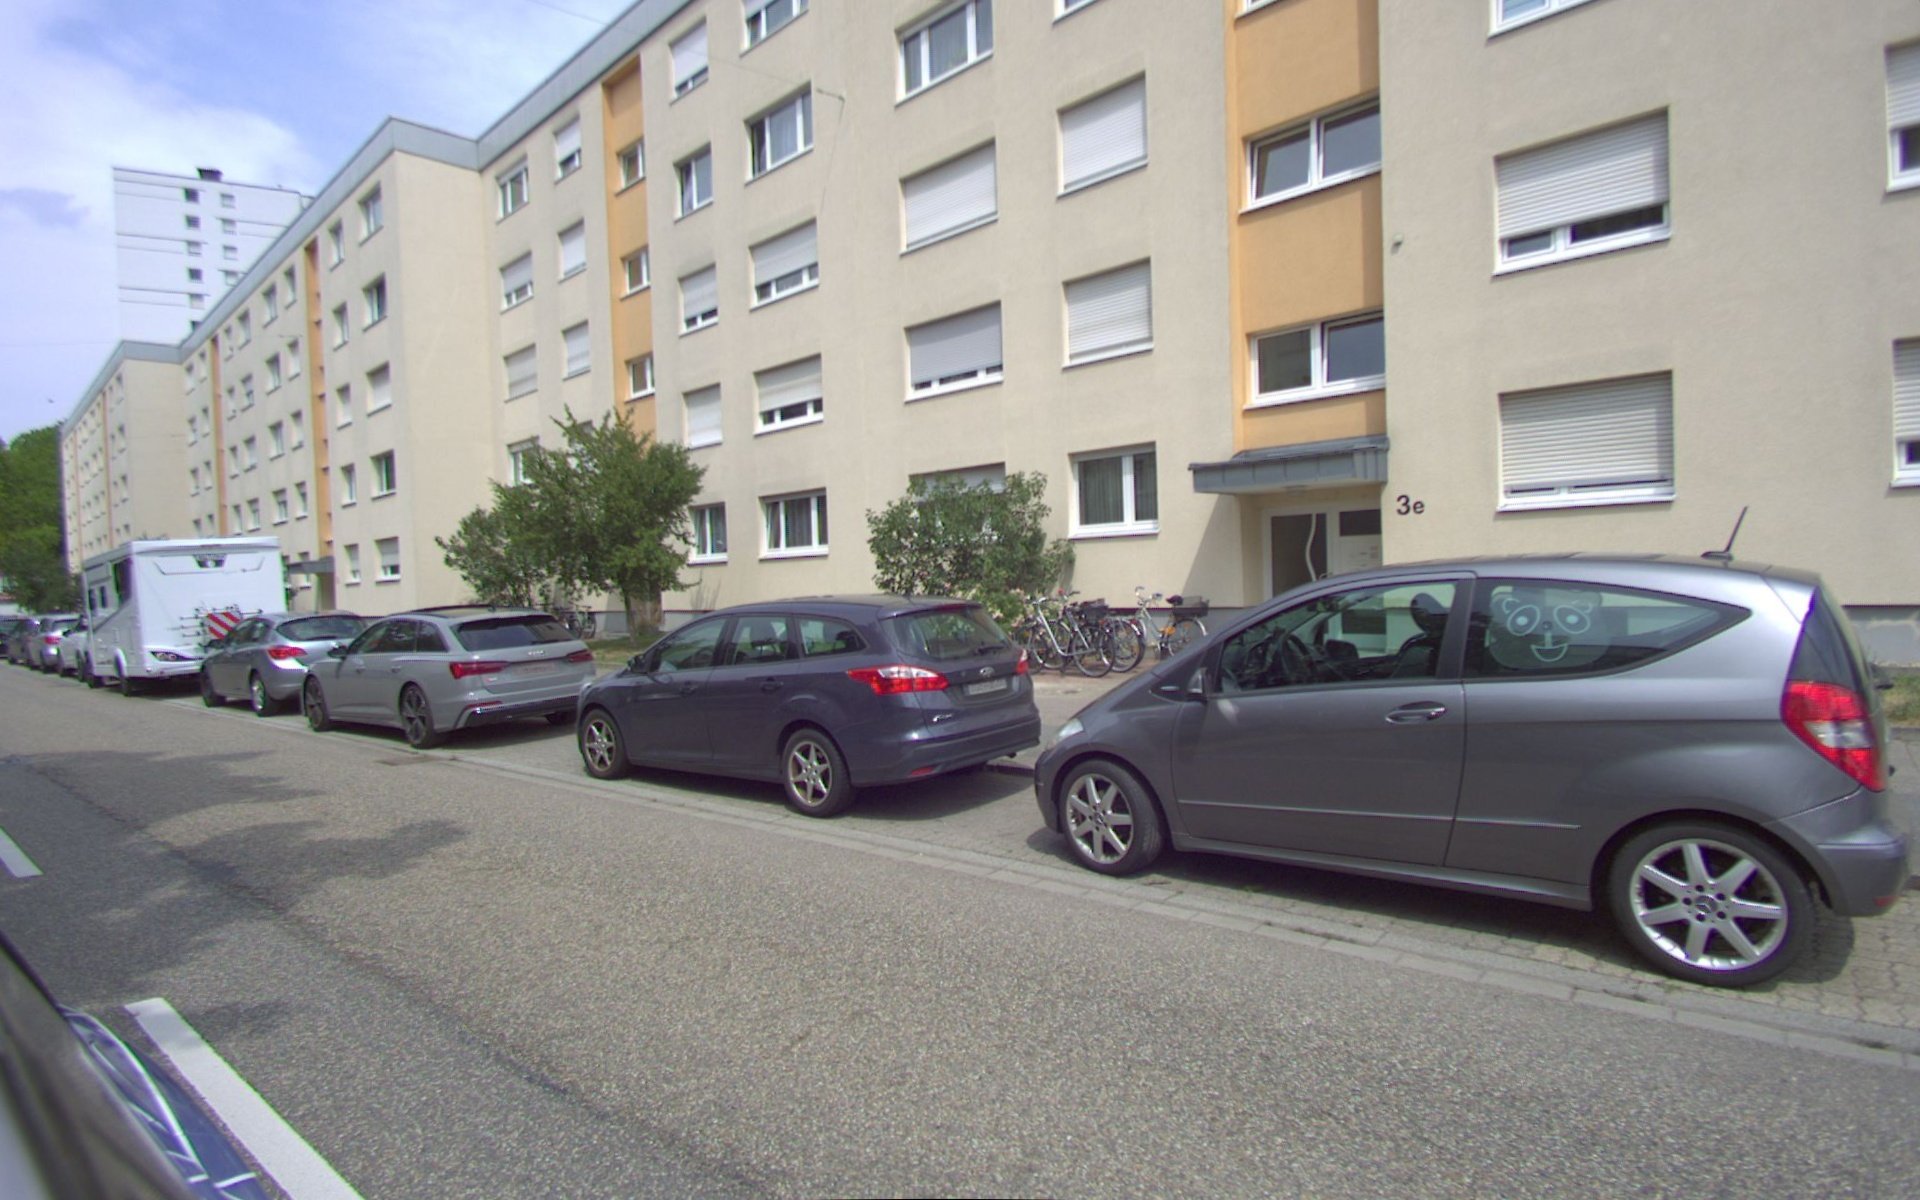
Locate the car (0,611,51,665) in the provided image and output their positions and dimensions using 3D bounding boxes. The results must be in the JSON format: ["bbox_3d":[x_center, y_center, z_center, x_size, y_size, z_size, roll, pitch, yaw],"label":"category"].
[{"bbox_3d":[-33.859,1.331,36.063,3.893,1.811,1.701,-1,0,41],"label":"car"}]

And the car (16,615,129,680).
[{"bbox_3d":[-24.767,1.257,28.203,4.216,1.644,1.829,-1,0,41],"label":"car"}]

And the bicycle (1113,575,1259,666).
[{"bbox_3d":[3.223,0.287,14.572,2.018,1.216,0.527,-1,3,43],"label":"bicycle"}]

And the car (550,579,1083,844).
[{"bbox_3d":[-1.308,0.686,7.999,4.259,1.515,1.661,-1,2,39],"label":"car"}]

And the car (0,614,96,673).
[{"bbox_3d":[-28.893,1.320,31.914,4.214,1.692,1.821,-1,0,39],"label":"car"}]

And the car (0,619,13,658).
[{"bbox_3d":[-41.101,1.612,42.442,3.893,1.568,1.644,-1,0,41],"label":"car"}]

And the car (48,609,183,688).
[{"bbox_3d":[-20.791,1.124,24.879,3.835,1.752,1.973,-1,0,41],"label":"car"}]

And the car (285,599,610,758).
[{"bbox_3d":[-6.269,0.812,12.130,4.620,1.518,1.701,-1,1,39],"label":"car"}]

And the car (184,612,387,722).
[{"bbox_3d":[-10.678,0.965,15.912,4.055,1.495,1.596,-1,0,40],"label":"car"}]

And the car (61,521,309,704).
[{"bbox_3d":[-15.711,0.276,20.292,7.110,3.081,2.587,-2,-1,41],"label":"car"}]

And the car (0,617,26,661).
[{"bbox_3d":[-37.930,1.512,39.544,3.893,1.629,1.708,-1,0,41],"label":"car"}]

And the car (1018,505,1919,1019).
[{"bbox_3d":[2.345,0.511,4.902,3.836,1.636,1.701,-1,1,40],"label":"car"}]

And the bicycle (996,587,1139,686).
[{"bbox_3d":[1.409,0.465,13.643,0.526,1.216,2.020,-6,3,-41],"label":"bicycle"}]

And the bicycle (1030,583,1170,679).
[{"bbox_3d":[1.905,0.404,14.053,0.526,1.216,2.020,-5,3,-41],"label":"bicycle"}]
